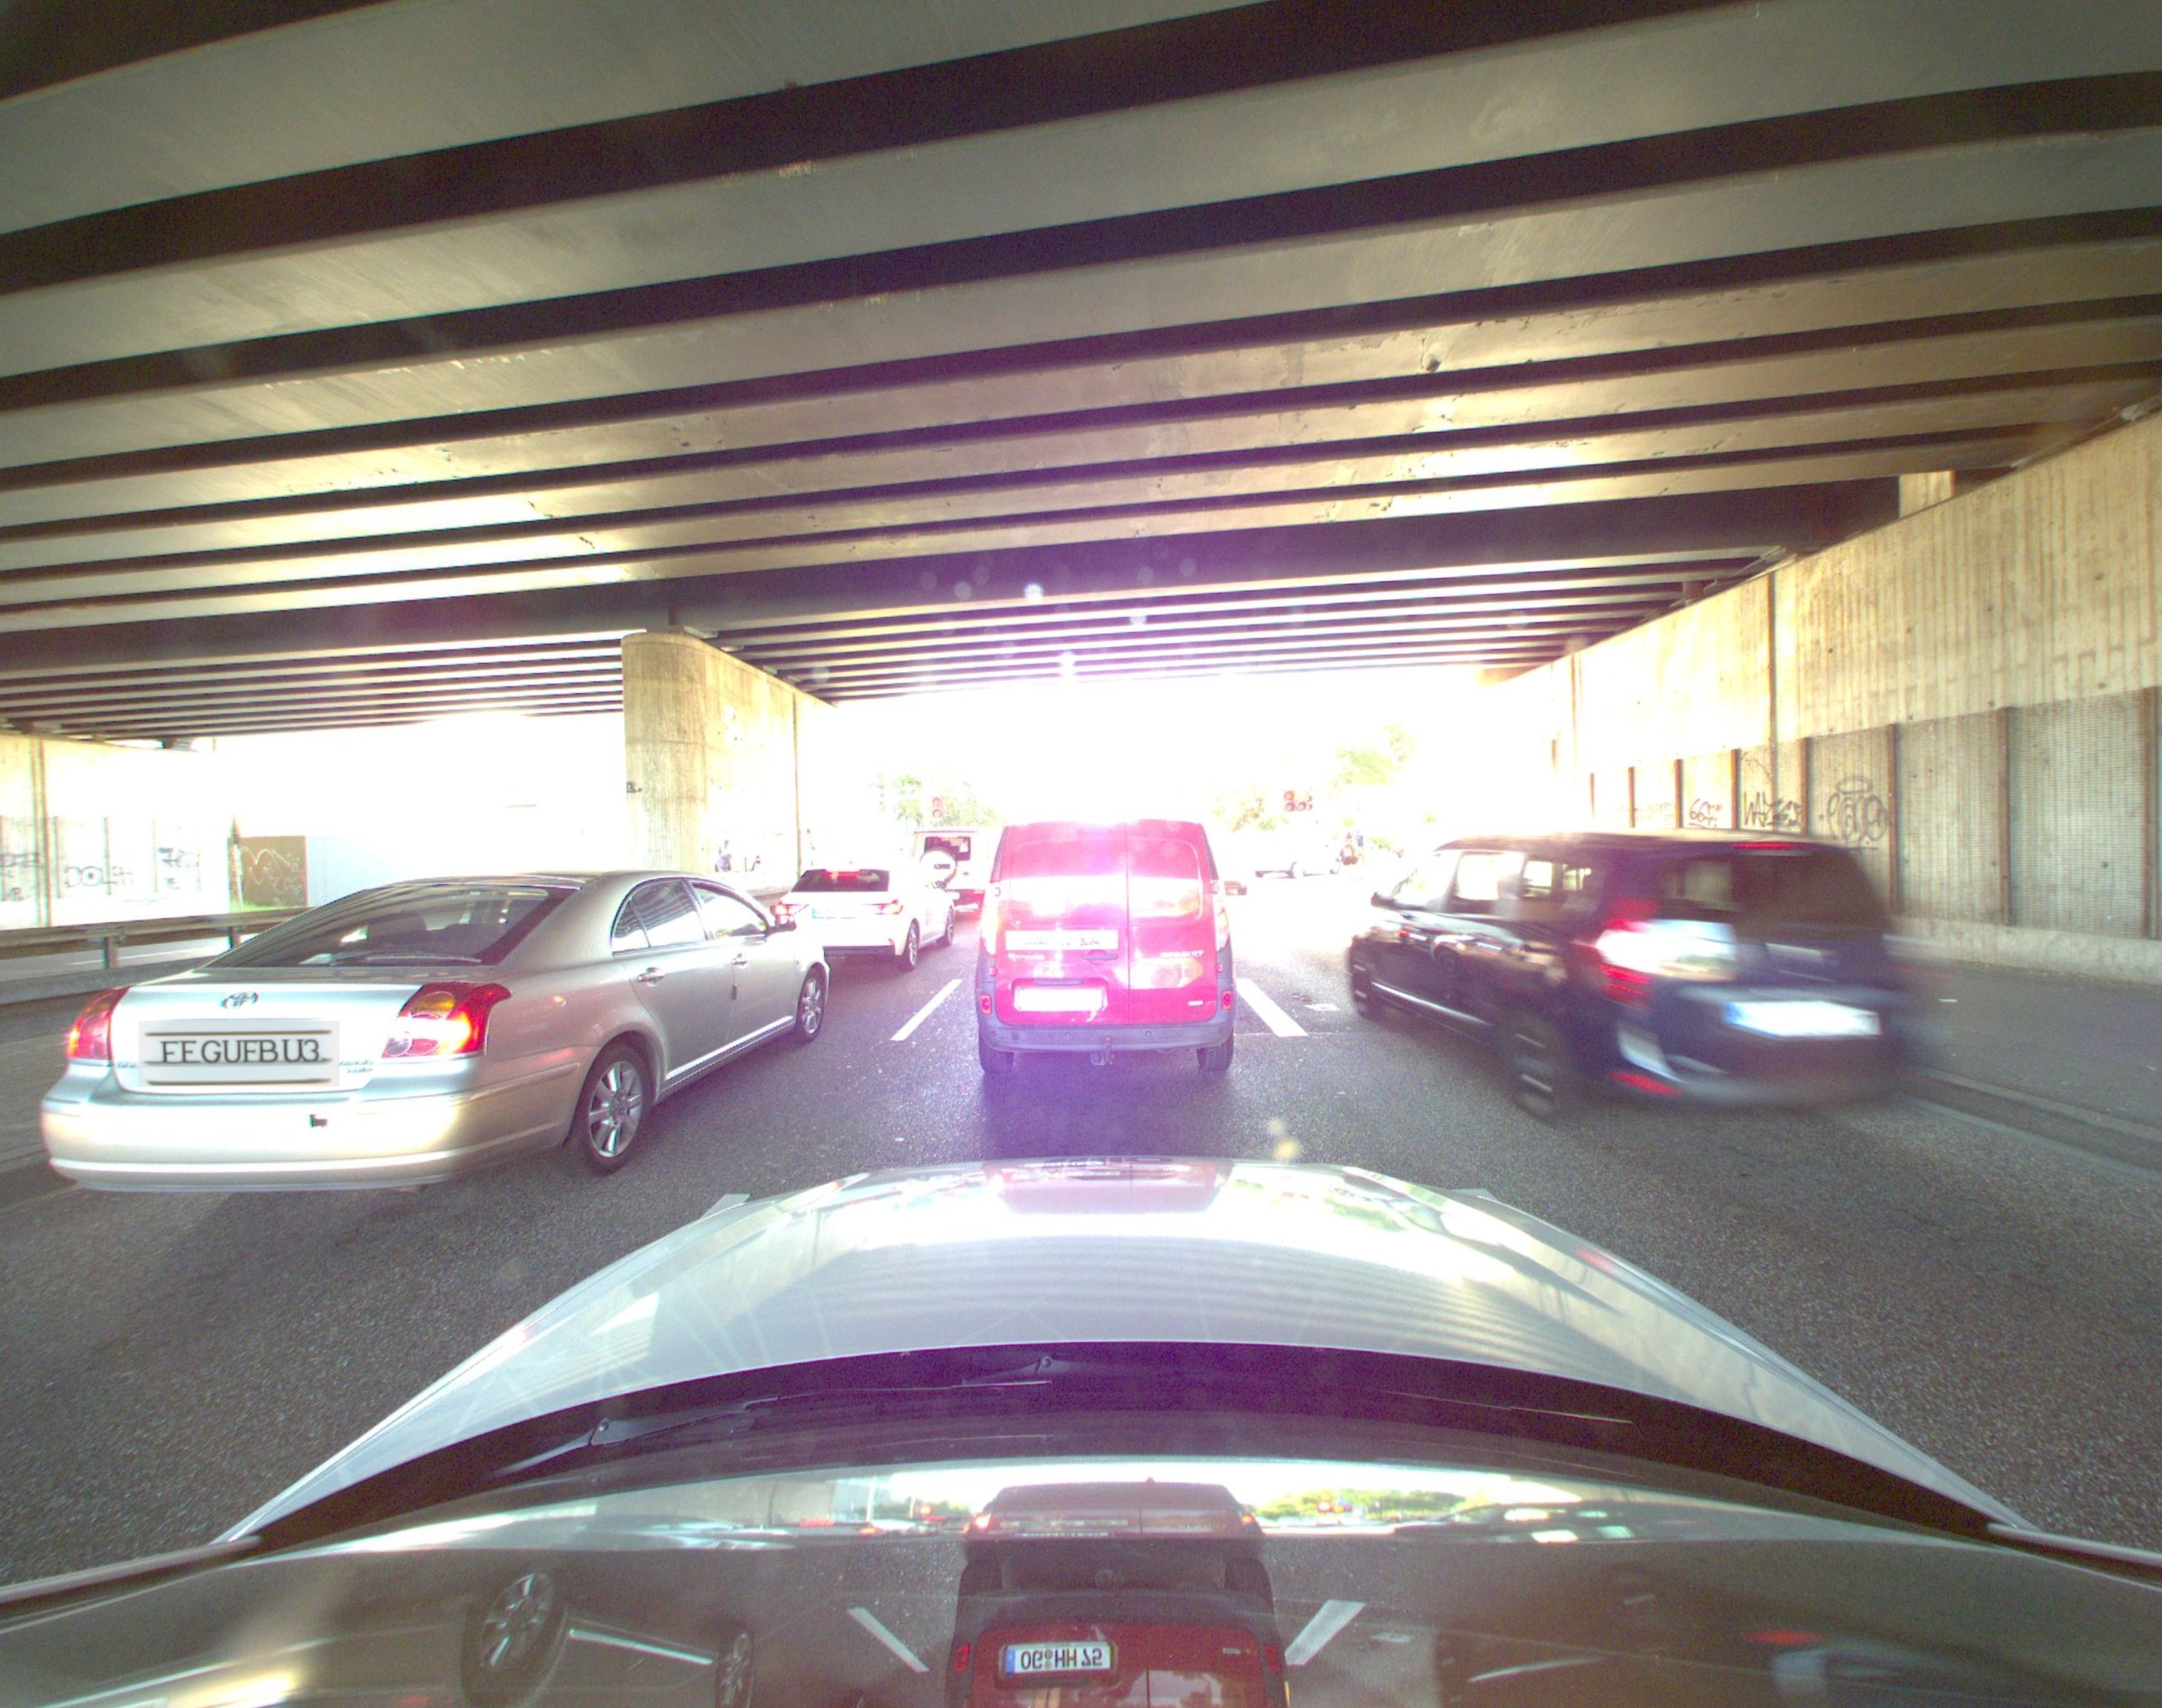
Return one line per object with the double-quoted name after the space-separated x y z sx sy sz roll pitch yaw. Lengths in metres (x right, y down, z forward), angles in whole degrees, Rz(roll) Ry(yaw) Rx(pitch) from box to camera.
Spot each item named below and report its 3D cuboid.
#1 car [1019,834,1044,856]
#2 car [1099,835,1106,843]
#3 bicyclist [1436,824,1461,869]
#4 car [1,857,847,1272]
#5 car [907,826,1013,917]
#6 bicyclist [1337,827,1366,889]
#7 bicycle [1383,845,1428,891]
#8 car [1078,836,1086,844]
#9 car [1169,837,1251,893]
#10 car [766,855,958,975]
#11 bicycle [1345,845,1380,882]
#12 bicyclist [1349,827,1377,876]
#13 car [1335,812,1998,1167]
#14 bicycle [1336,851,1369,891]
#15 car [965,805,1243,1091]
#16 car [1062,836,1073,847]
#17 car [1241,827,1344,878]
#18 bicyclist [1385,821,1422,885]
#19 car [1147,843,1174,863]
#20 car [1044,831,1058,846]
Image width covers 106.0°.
-4.777 -0.824 78.791 1.986 2.014 4.001 0 0 2 "car"
5.859 -4.015 220.865 1.986 2.014 4.001 0 0 2 "car"
13.976 -0.284 30.949 0.739 1.655 0.892 0 0 34 "bicyclist"
-3.005 0.770 5.137 1.690 1.455 4.399 0 0 1 "car"
-2.711 0.372 19.046 1.807 1.904 3.814 0 0 1 "car"
7.200 0.116 21.693 0.673 1.629 0.646 0 -1 12 "bicyclist"
8.190 0.345 20.608 0.677 1.113 1.608 -2 -1 9 "bicycle"
0.374 -3.674 210.301 1.922 2.014 3.915 0 0 2 "car"
3.930 0.366 25.540 1.986 1.551 4.422 -1 -1 2 "car"
-2.916 0.731 11.688 1.687 1.410 3.813 0 0 0 "car"
9.065 0.289 26.182 0.644 1.167 1.789 -1 0 32 "bicycle"
9.080 -0.077 26.217 0.646 1.534 0.852 -1 0 32 "bicyclist"
3.322 0.613 5.779 1.769 1.601 4.104 -1 0 0 "car"
7.202 0.435 21.676 0.672 1.024 1.534 0 0 12 "bicycle"
0.203 0.580 7.056 1.712 1.764 4.002 0 0 2 "car"
-2.732 -2.457 161.392 1.986 2.014 4.001 0 0 2 "car"
8.891 -0.108 33.967 1.880 1.836 4.864 -1 2 45 "car"
8.187 -0.025 20.703 0.666 1.561 0.737 -2 -1 8 "bicyclist"
5.856 -0.085 60.398 1.739 1.456 3.718 0 0 1 "car"
-4.408 -2.254 119.162 1.741 2.014 3.846 0 0 2 "car"
